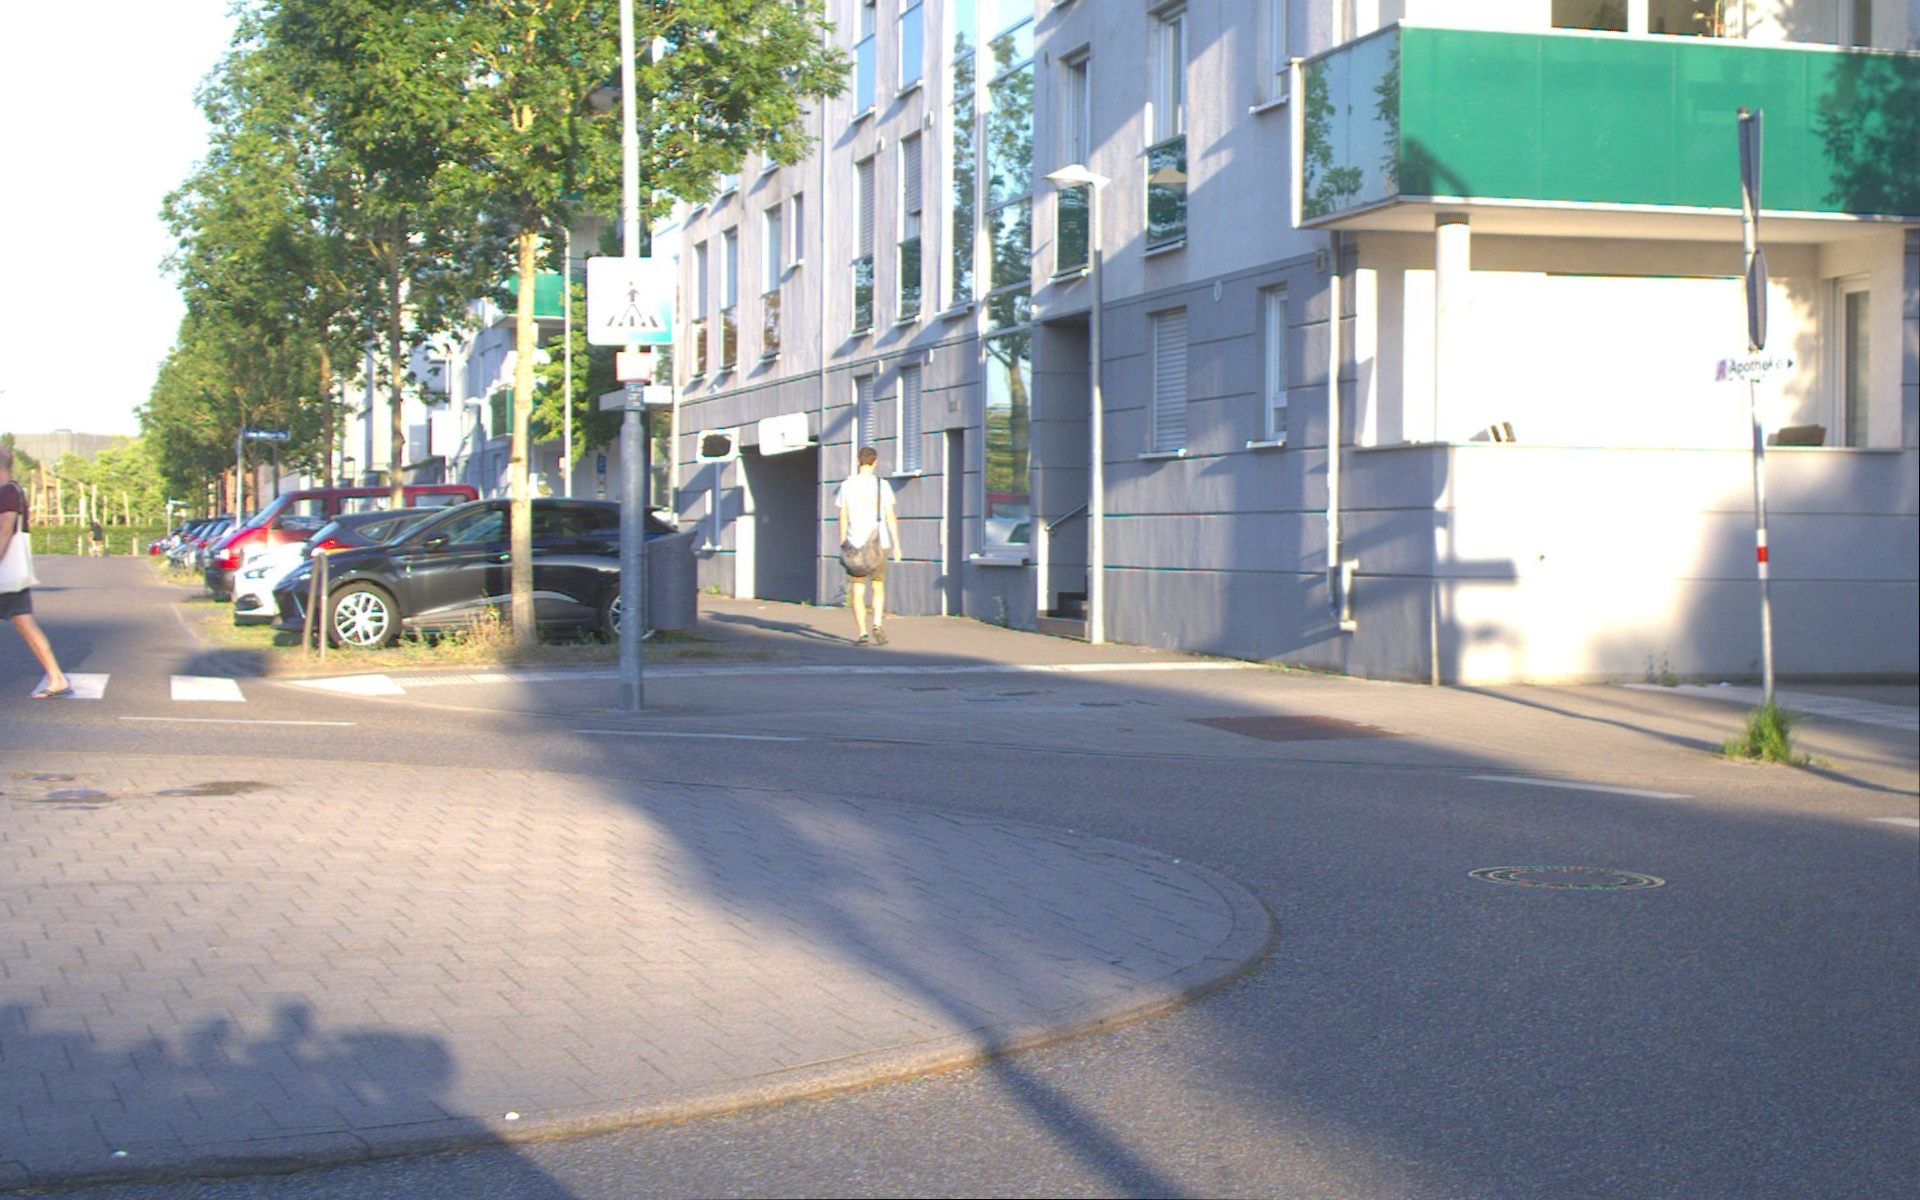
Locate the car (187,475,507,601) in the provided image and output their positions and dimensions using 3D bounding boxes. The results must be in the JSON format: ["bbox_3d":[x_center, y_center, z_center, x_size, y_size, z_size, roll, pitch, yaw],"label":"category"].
[{"bbox_3d":[-10.212,-1.023,57.178,5.001,2.038,2.251,0,1,-17],"label":"car"}]

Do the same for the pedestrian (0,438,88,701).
[{"bbox_3d":[-6.623,-0.218,23.849,1.003,1.782,0.762,1,1,-19],"label":"pedestrian"}]

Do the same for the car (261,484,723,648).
[{"bbox_3d":[-4.759,-0.344,34.697,4.483,1.590,2.001,0,1,-12],"label":"car"}]

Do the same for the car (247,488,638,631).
[{"bbox_3d":[-6.007,-0.466,39.698,4.354,1.590,2.001,0,1,-12],"label":"car"}]

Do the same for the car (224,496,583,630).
[{"bbox_3d":[-6.876,-0.457,42.305,4.262,1.590,2.001,0,1,-12],"label":"car"}]

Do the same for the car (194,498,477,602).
[{"bbox_3d":[-9.858,-0.792,54.151,4.262,1.590,2.001,0,1,-14],"label":"car"}]

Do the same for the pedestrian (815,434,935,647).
[{"bbox_3d":[-0.823,-0.573,32.976,0.940,2.007,0.849,0,1,-17],"label":"pedestrian"}]
